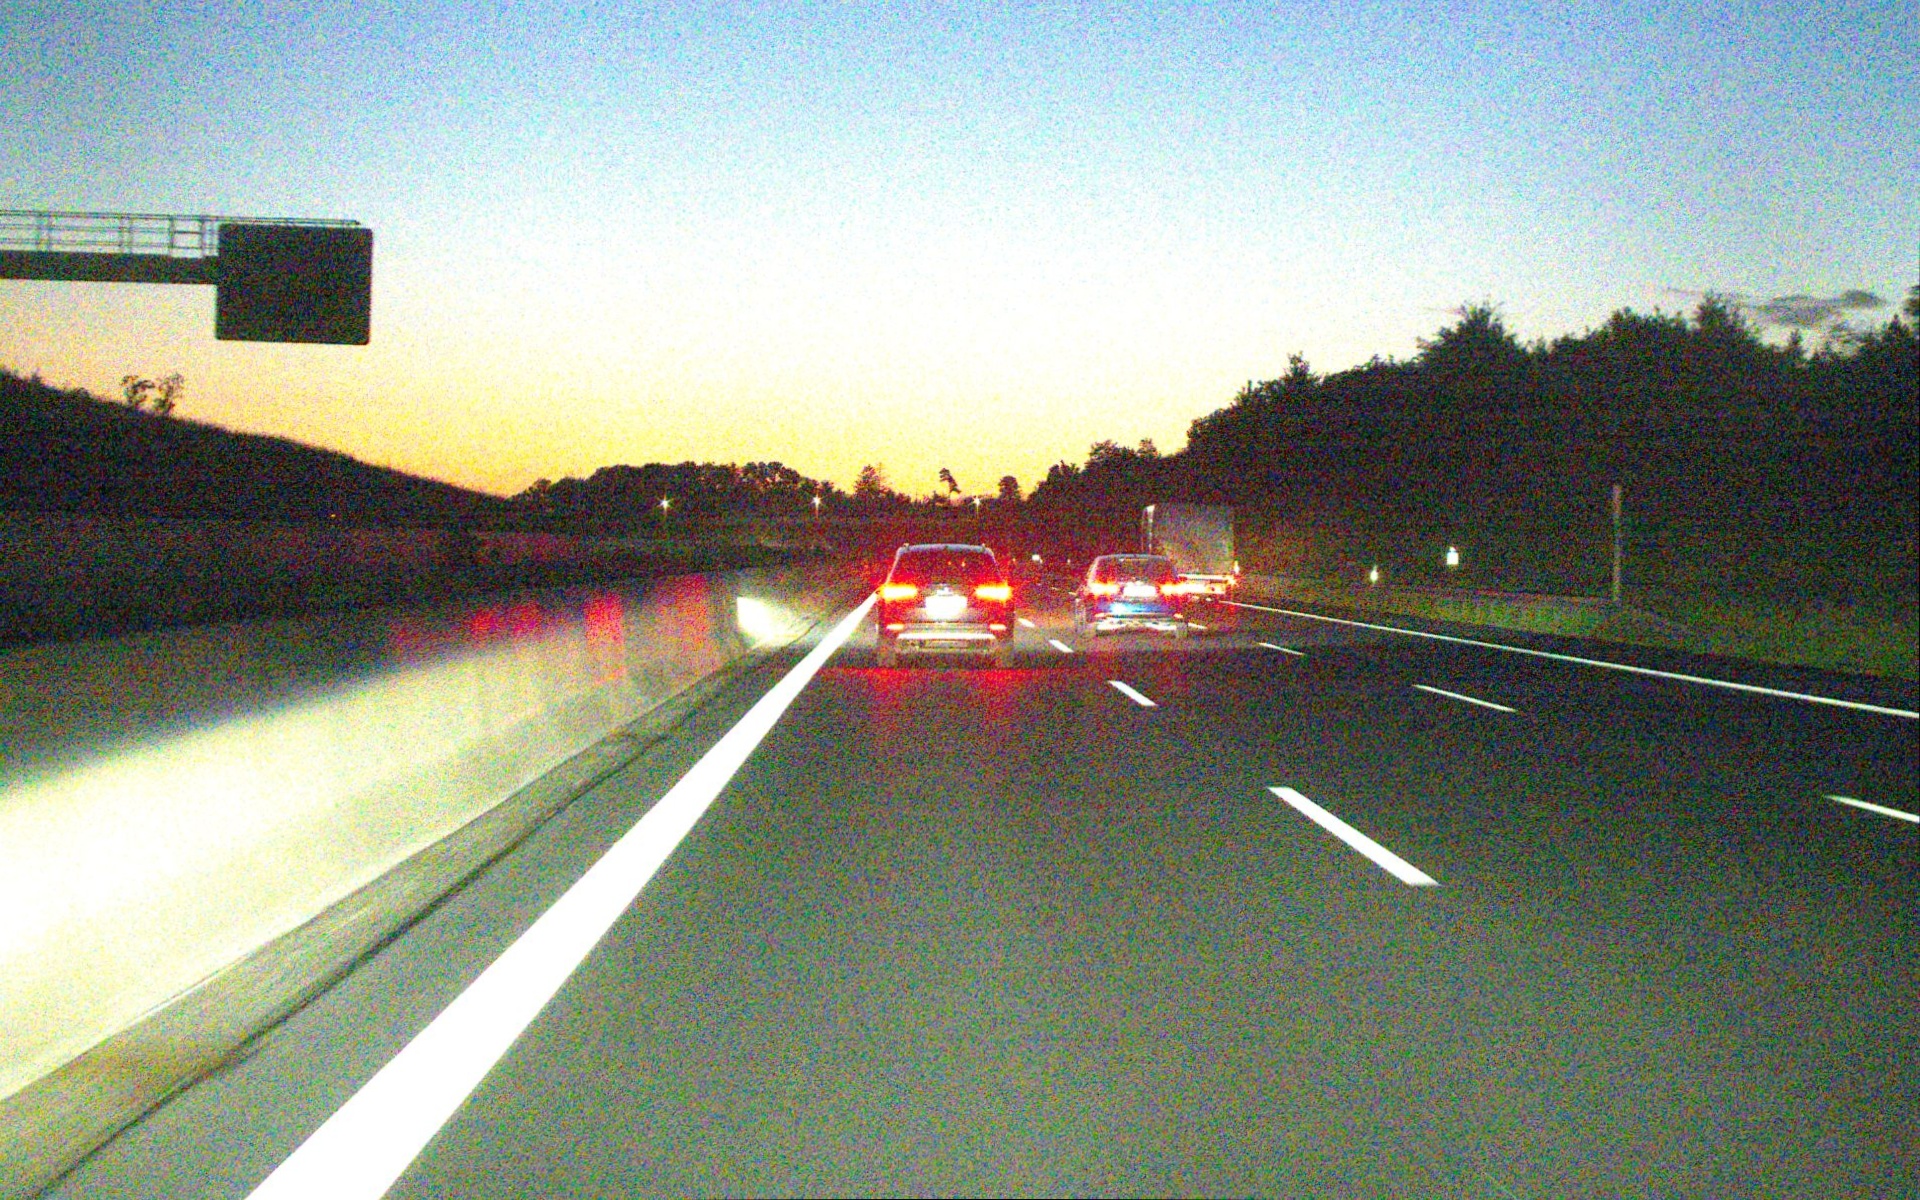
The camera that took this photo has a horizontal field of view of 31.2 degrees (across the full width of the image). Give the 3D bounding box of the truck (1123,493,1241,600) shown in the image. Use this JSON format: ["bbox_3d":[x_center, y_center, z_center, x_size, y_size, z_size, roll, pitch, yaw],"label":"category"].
[{"bbox_3d":[6.673,-1.623,104.273,2.603,2.865,7.486,6,1,-2],"label":"truck"}]

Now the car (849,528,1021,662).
[{"bbox_3d":[-0.384,-0.088,45.480,2.105,1.612,4.205,2,1,-2],"label":"car"}]

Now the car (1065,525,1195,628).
[{"bbox_3d":[2.976,-0.420,60.945,1.911,1.724,4.000,1,1,-2],"label":"car"}]
